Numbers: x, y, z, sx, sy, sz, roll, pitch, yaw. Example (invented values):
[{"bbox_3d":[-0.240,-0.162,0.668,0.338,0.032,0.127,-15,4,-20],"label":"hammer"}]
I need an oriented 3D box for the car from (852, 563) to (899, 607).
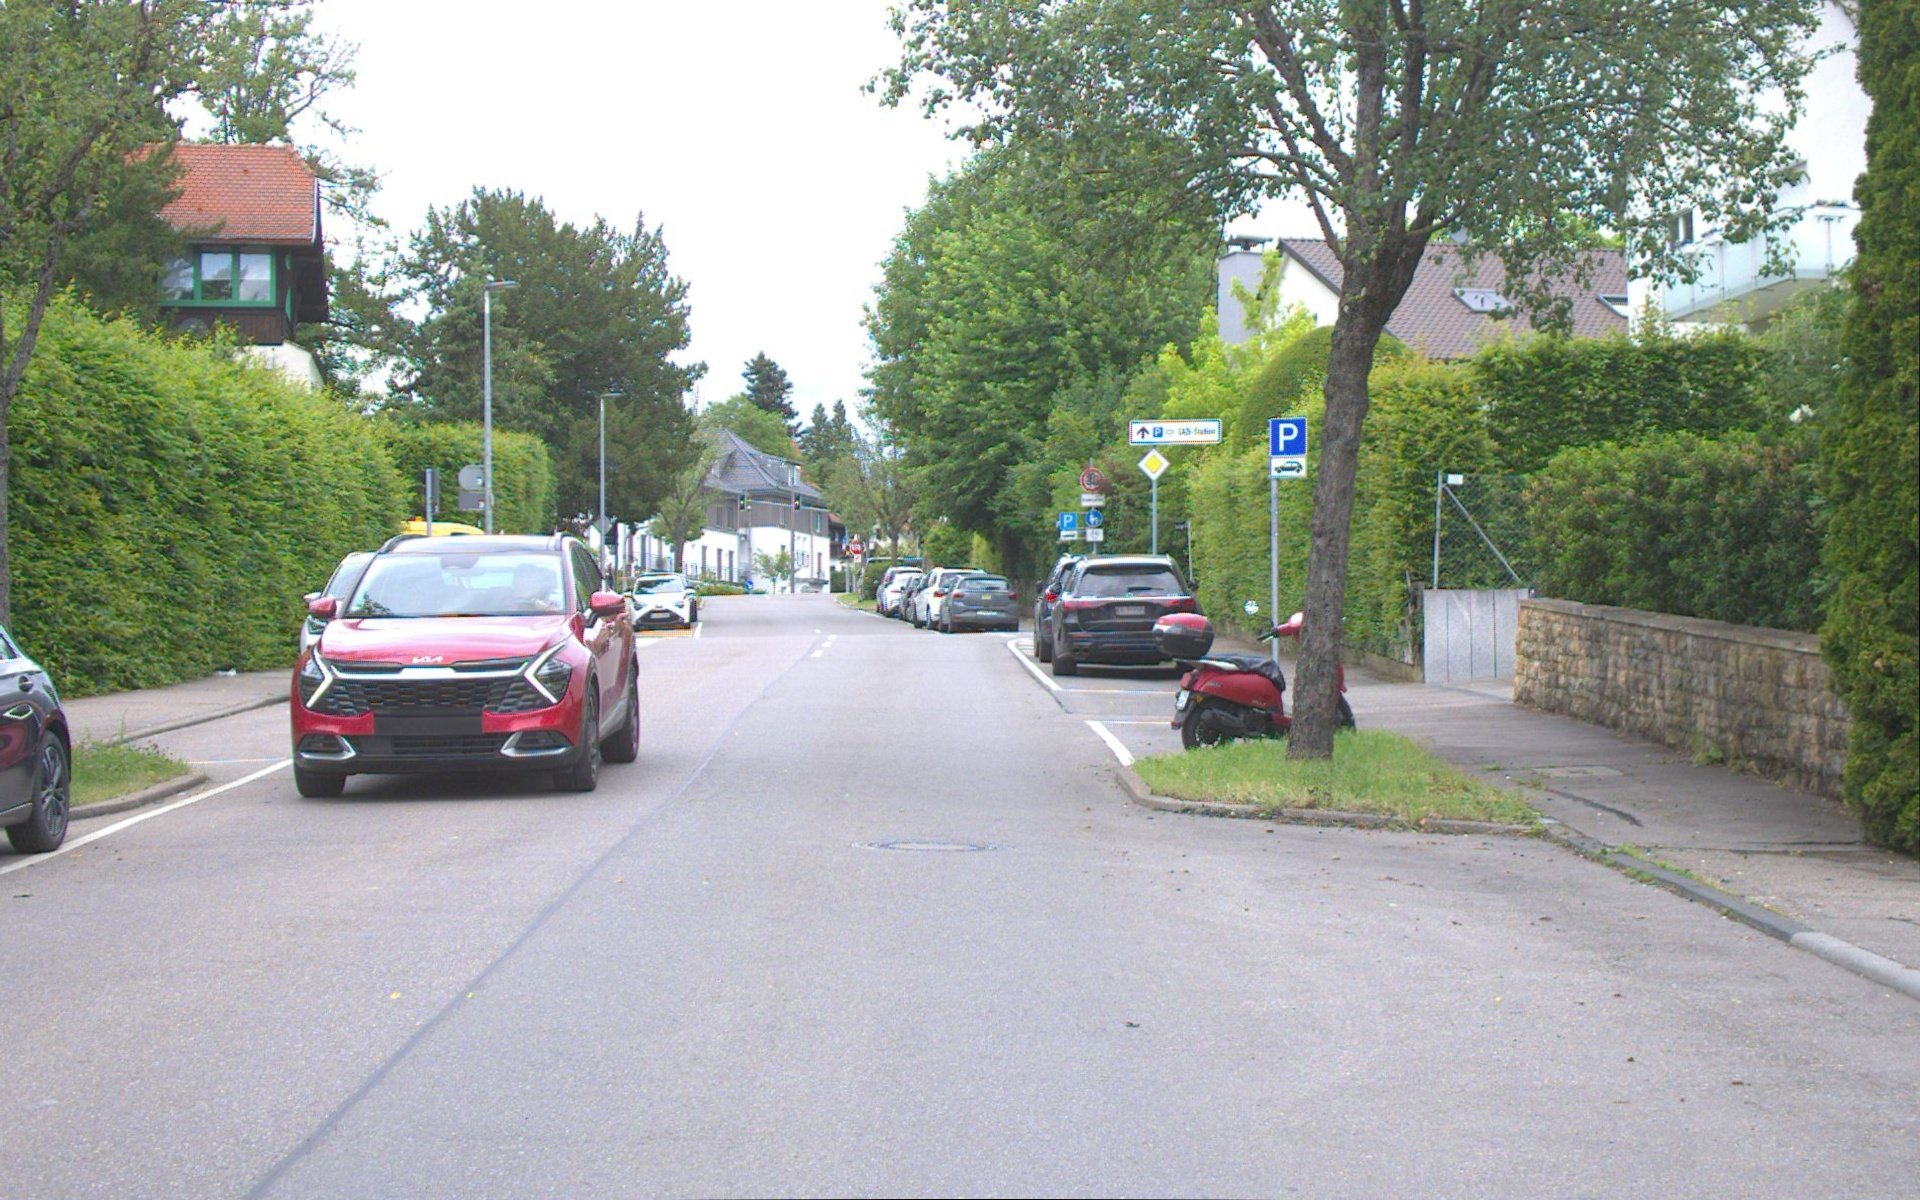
[{"bbox_3d":[-3.293,-0.594,133.669,1.643,1.662,3.468,0,1,-5],"label":"car"}]

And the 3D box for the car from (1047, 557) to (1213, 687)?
[{"bbox_3d":[2.110,0.239,43.742,1.882,1.528,4.475,1,1,0],"label":"car"}]

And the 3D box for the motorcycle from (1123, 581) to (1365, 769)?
[{"bbox_3d":[2.142,0.543,25.829,1.863,1.342,0.599,-1,1,-36],"label":"motorcycle"}]

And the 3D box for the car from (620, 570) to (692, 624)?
[{"bbox_3d":[-8.200,-0.086,92.428,1.664,1.395,3.468,0,1,-10],"label":"car"}]

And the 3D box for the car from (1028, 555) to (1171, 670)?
[{"bbox_3d":[1.960,0.147,49.464,1.882,1.528,4.475,1,1,0],"label":"car"}]

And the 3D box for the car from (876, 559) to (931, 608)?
[{"bbox_3d":[-1.974,-0.580,118.402,1.664,1.662,3.468,0,1,-5],"label":"car"}]

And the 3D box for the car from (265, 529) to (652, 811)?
[{"bbox_3d":[-3.227,0.398,22.957,1.941,1.641,4.258,-2,1,-1],"label":"car"}]

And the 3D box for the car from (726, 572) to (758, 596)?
[{"bbox_3d":[-13.137,-0.982,207.167,1.822,1.415,4.001,0,1,-5],"label":"car"}]

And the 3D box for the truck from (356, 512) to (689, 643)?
[{"bbox_3d":[-8.458,-0.398,66.333,5.930,2.301,2.826,1,-3,-18],"label":"truck"}]

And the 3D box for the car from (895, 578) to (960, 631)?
[{"bbox_3d":[-0.968,0.121,100.889,1.664,1.495,3.468,0,1,-5],"label":"car"}]

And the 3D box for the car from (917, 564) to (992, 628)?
[{"bbox_3d":[-0.160,-0.119,91.490,1.713,1.652,3.623,0,1,-5],"label":"car"}]

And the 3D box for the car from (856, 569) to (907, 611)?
[{"bbox_3d":[-2.907,-0.369,126.099,1.664,1.495,3.468,0,1,-5],"label":"car"}]

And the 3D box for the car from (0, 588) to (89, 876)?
[{"bbox_3d":[-5.613,0.678,16.672,1.727,1.418,4.079,-2,0,0],"label":"car"}]

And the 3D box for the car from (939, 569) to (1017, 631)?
[{"bbox_3d":[0.439,-0.012,86.753,1.664,1.495,3.468,0,1,-5],"label":"car"}]

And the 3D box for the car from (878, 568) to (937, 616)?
[{"bbox_3d":[-1.723,-0.271,111.507,1.664,1.495,3.468,0,1,-5],"label":"car"}]

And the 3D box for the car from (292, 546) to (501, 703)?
[{"bbox_3d":[-5.937,0.217,36.615,1.722,1.535,4.001,-1,1,-3],"label":"car"}]
